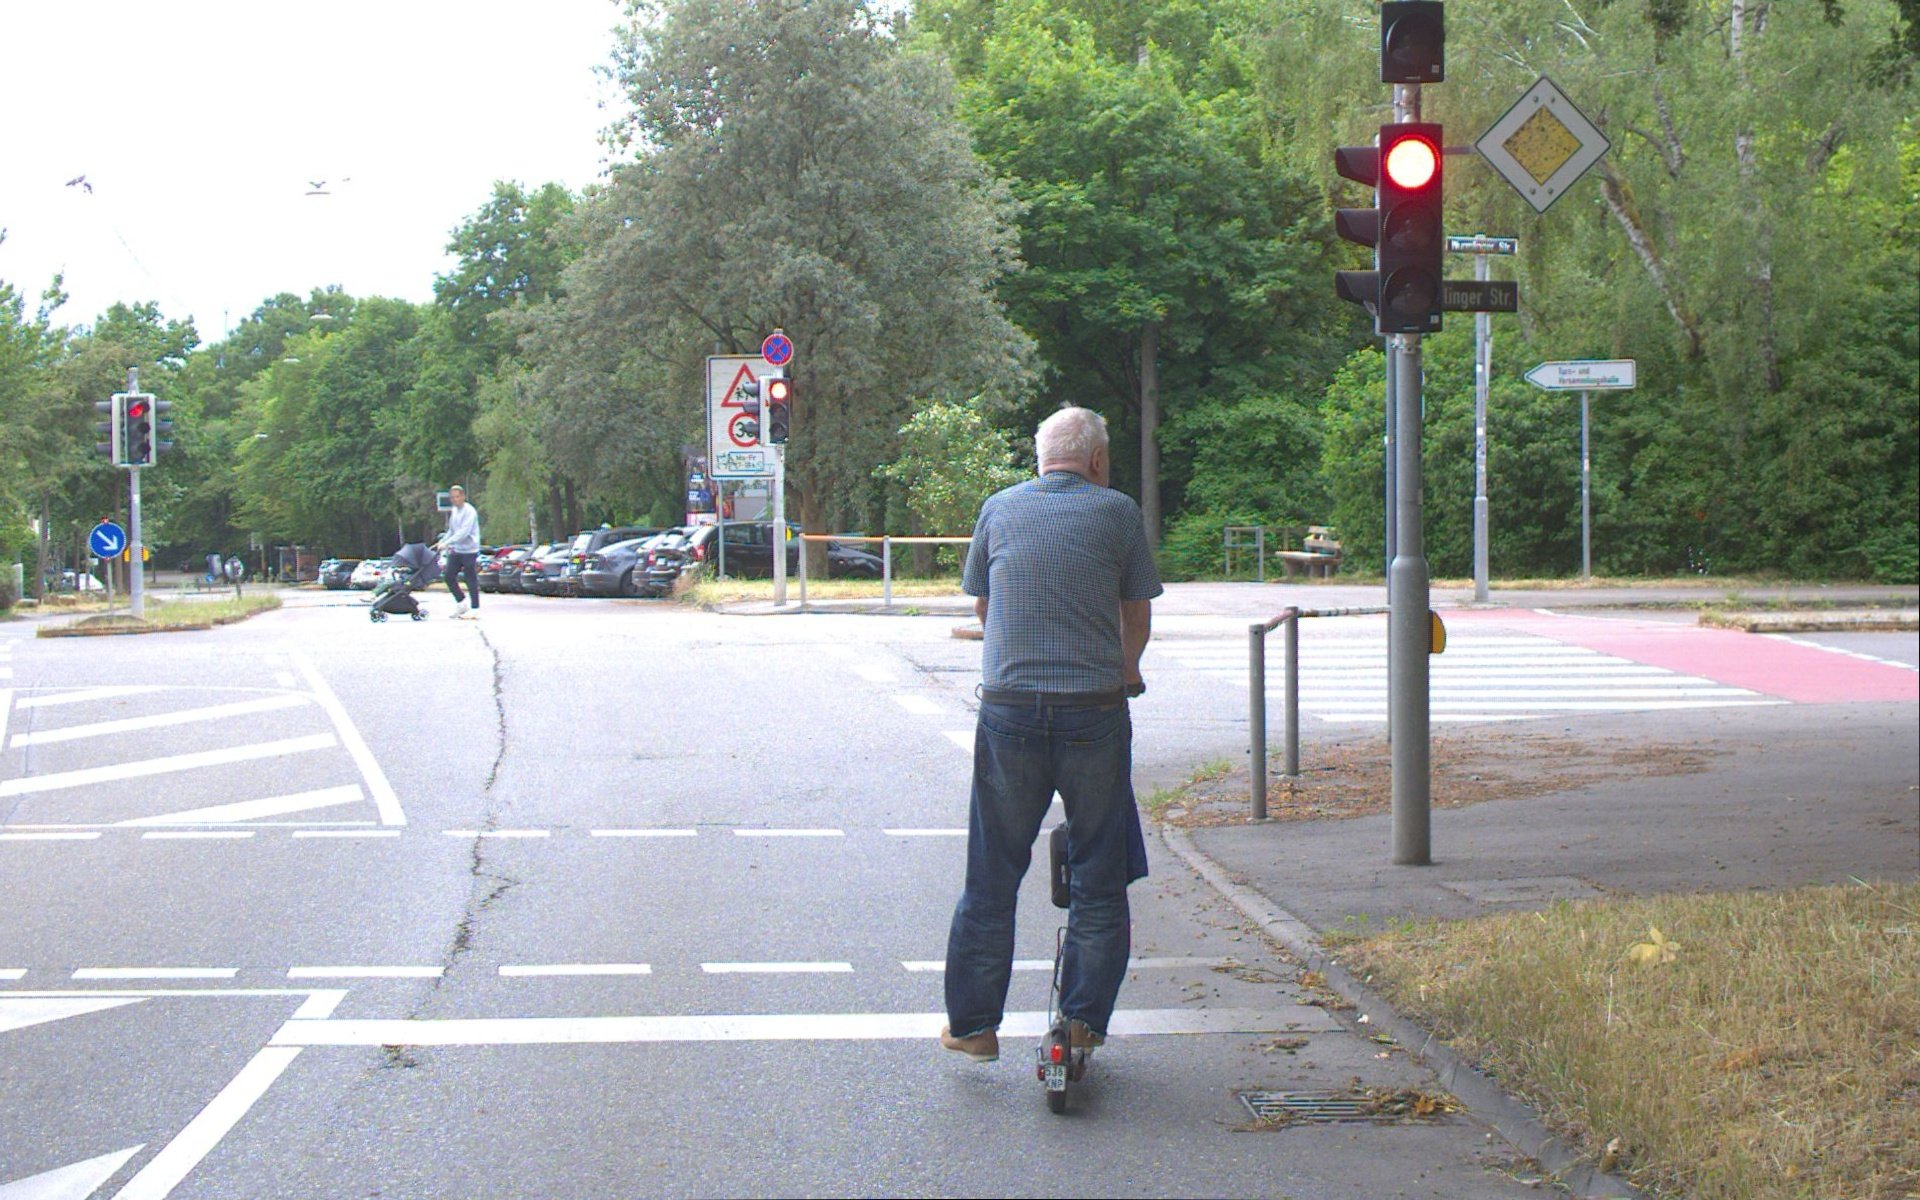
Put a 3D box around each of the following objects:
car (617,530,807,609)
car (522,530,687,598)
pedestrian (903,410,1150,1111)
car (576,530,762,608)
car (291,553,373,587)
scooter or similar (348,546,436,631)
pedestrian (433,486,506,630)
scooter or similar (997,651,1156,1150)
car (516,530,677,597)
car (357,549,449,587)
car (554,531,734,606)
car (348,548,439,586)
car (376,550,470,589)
[{"bbox_3d":[-5.558,-0.702,76.940,3.840,1.605,1.729,-3,2,-21],"label":"car"},{"bbox_3d":[-9.184,-0.941,88.777,3.841,1.605,1.728,-3,2,-23],"label":"car"},{"bbox_3d":[0.183,0.415,9.109,0.573,1.807,0.420,-1,1,8],"label":"pedestrian"},{"bbox_3d":[-6.671,-0.722,78.903,3.841,1.605,1.728,-3,2,-24],"label":"car"},{"bbox_3d":[-32.460,-1.571,177.623,3.841,1.605,1.728,-3,2,-23],"label":"car"},{"bbox_3d":[-7.391,-0.154,44.752,1.107,1.077,0.578,-1,1,-9],"label":"scooter or similar"},{"bbox_3d":[-6.416,-0.549,44.926,0.883,1.856,0.574,-1,1,-10],"label":"pedestrian"},{"bbox_3d":[0.319,0.747,9.001,0.282,1.174,1.177,-1,1,7],"label":"scooter or similar"},{"bbox_3d":[-9.639,-0.976,91.187,3.841,1.605,1.728,-3,2,-23],"label":"car"},{"bbox_3d":[-25.620,-1.479,158.166,3.841,1.605,1.728,-3,2,-23],"label":"car"},{"bbox_3d":[-7.489,-0.762,81.440,3.841,1.605,1.728,-3,2,-23],"label":"car"},{"bbox_3d":[-26.431,-1.531,160.480,3.841,1.605,1.728,-3,2,-23],"label":"car"},{"bbox_3d":[-24.373,-1.400,156.109,3.841,1.605,1.728,-3,2,-23],"label":"car"}]
